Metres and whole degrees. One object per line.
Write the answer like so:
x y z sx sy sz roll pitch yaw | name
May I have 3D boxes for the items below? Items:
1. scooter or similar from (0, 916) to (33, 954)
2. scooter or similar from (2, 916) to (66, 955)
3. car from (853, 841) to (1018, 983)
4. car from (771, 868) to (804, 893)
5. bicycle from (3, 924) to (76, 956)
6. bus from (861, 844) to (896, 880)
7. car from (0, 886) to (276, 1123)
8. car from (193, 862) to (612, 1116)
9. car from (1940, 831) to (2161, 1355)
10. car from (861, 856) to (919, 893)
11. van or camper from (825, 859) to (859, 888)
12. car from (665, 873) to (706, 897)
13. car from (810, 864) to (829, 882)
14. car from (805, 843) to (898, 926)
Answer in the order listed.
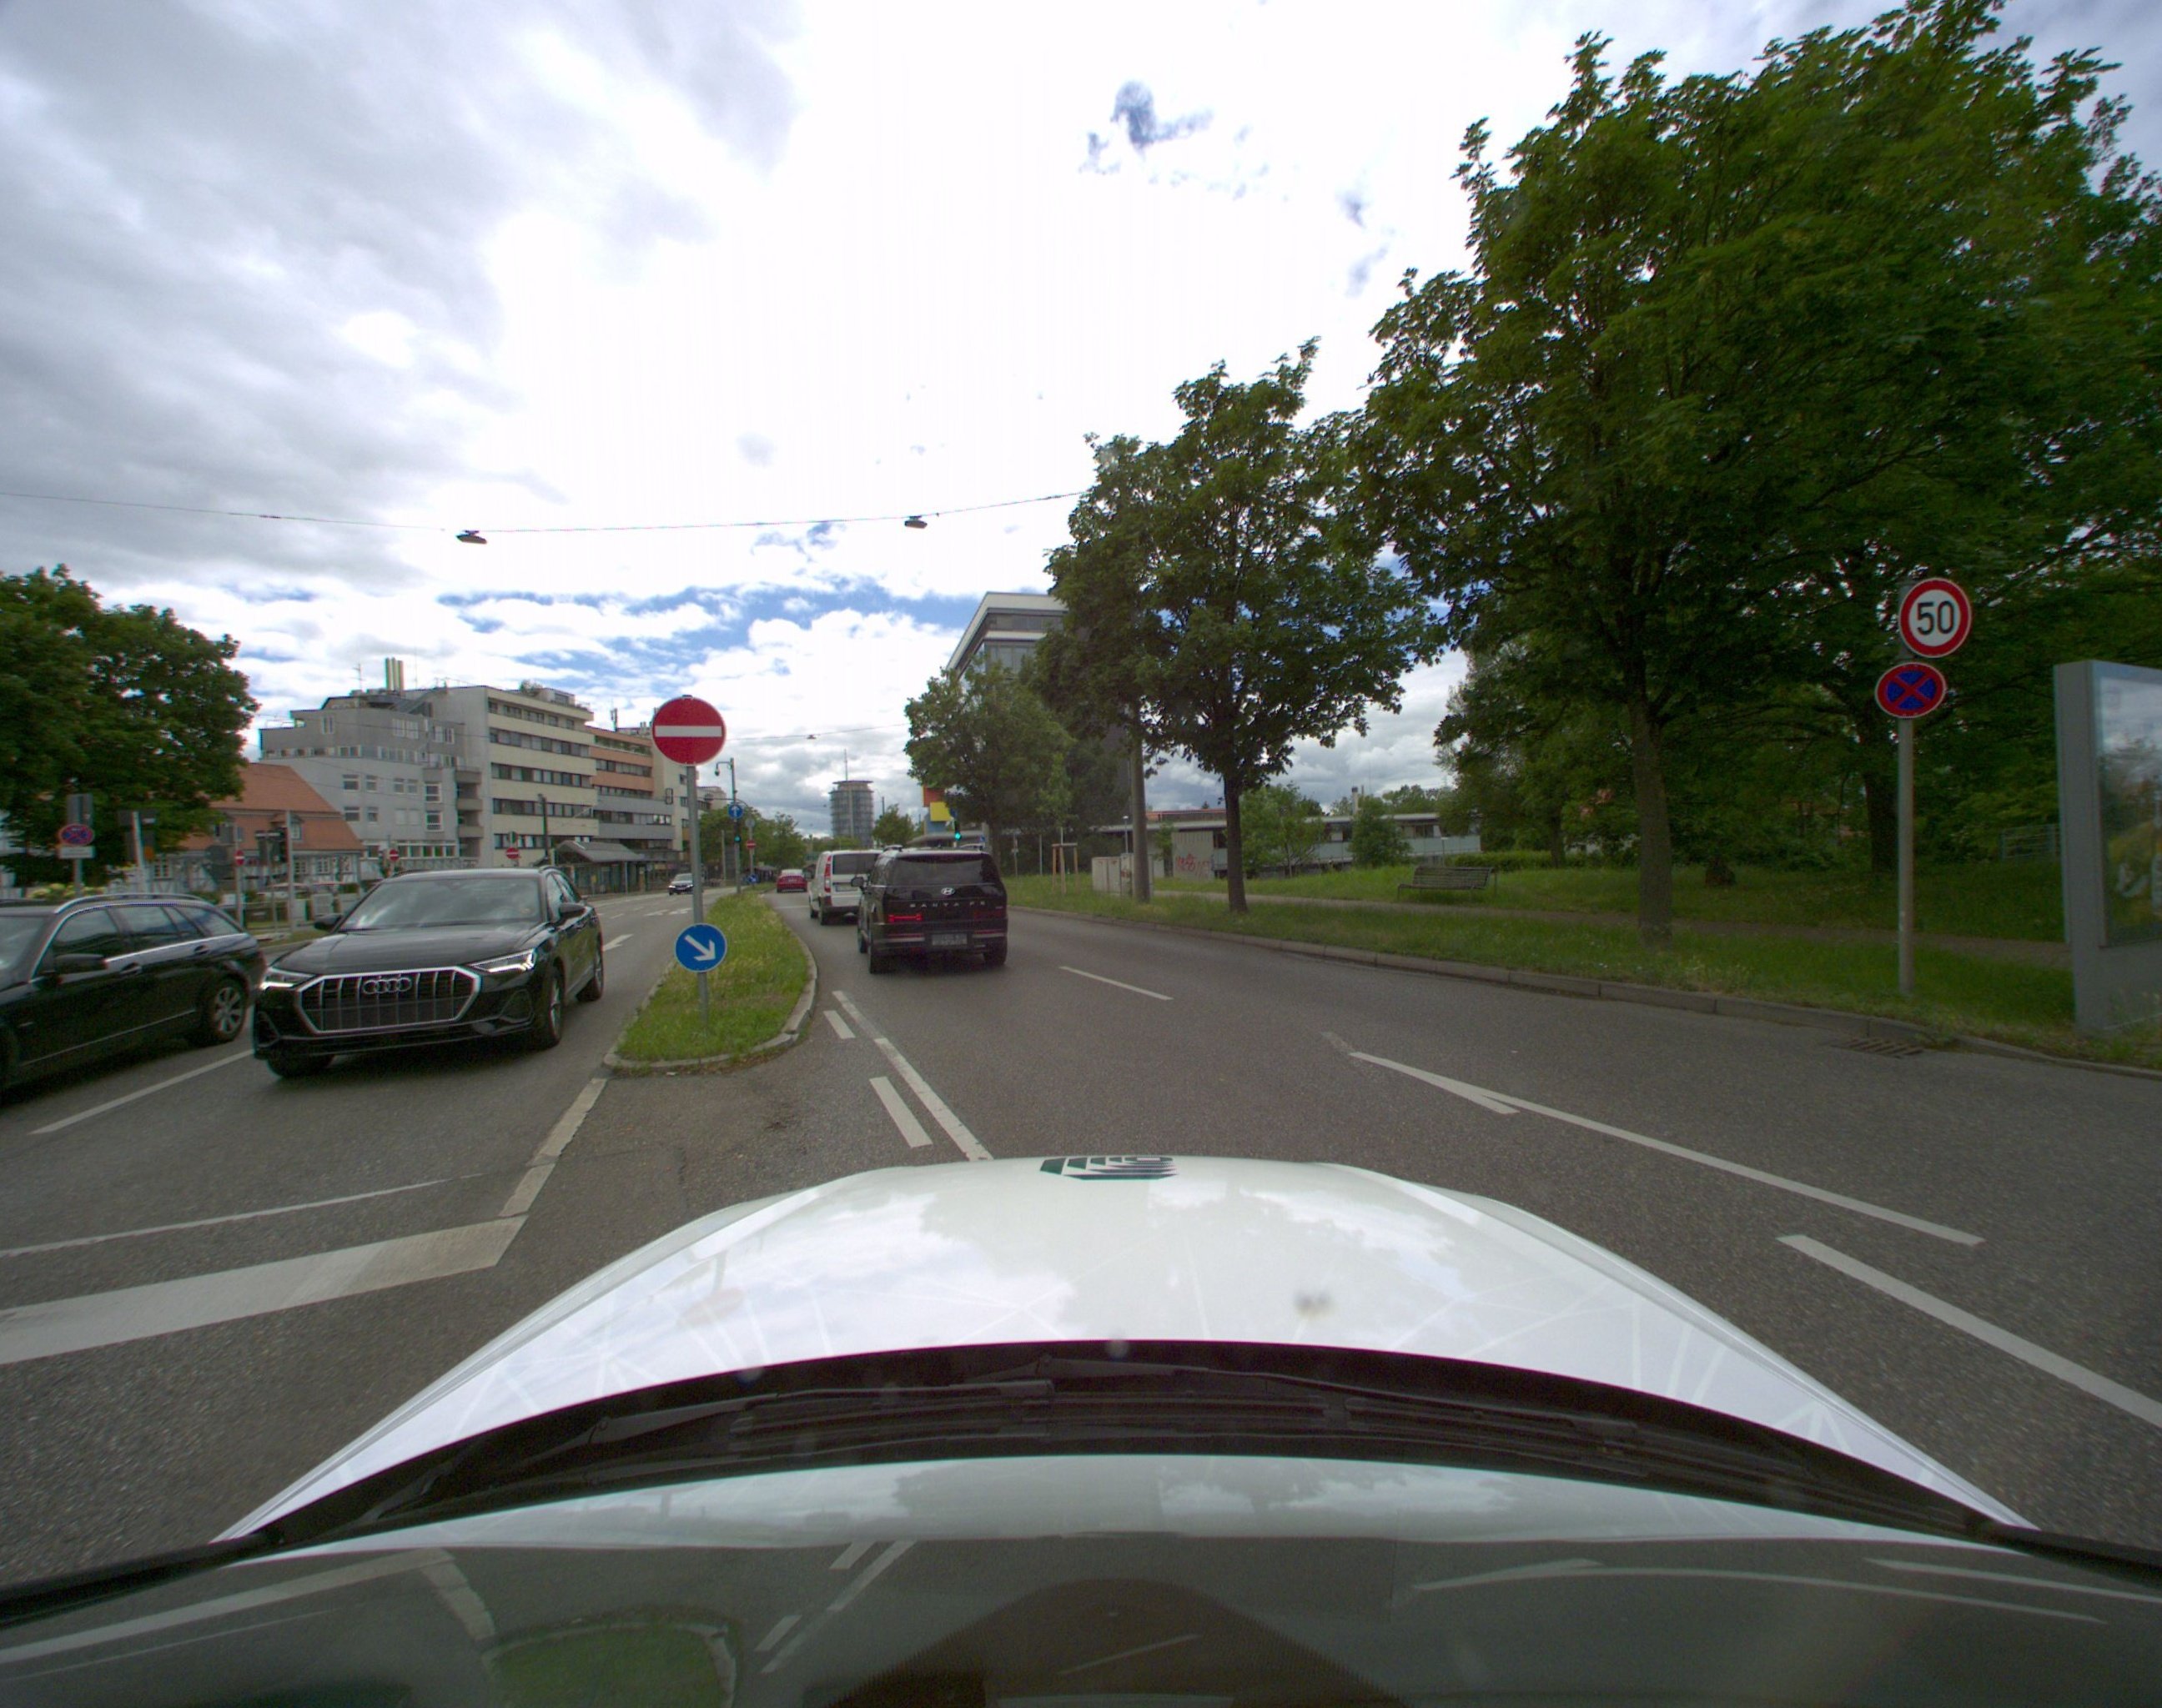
-33.031 2.486 25.060 0.424 1.085 0.986 -3 0 -17 | scooter or similar
-31.702 2.447 24.670 0.489 1.045 1.173 -1 0 -8 | scooter or similar
-2.417 0.726 12.540 1.907 1.731 4.419 -1 0 -18 | car
-18.763 1.681 51.981 1.880 1.418 4.411 -1 0 -21 | car
-30.239 2.493 23.657 1.262 0.804 0.421 -3 0 -20 | bicycle
-19.762 0.848 79.370 2.971 3.116 9.198 -4 0 -14 | bus
-8.382 1.077 6.078 1.790 1.425 4.363 -1 1 -22 | car
-5.826 0.906 7.734 1.897 1.564 4.361 -1 1 -24 | car
3.821 0.654 0.805 1.695 1.461 4.063 -1 0 1 | car
-8.851 0.908 37.407 1.909 1.542 4.675 -1 0 -22 | car
-17.686 1.391 60.145 2.001 1.917 4.377 -2 1 -21 | van or camper
-27.607 2.131 56.992 1.803 1.455 4.585 -3 0 -17 | car
-29.912 2.169 93.185 1.906 1.859 4.684 -1 0 -16 | car
-6.331 0.740 22.103 1.910 1.969 4.601 -1 0 -22 | car
